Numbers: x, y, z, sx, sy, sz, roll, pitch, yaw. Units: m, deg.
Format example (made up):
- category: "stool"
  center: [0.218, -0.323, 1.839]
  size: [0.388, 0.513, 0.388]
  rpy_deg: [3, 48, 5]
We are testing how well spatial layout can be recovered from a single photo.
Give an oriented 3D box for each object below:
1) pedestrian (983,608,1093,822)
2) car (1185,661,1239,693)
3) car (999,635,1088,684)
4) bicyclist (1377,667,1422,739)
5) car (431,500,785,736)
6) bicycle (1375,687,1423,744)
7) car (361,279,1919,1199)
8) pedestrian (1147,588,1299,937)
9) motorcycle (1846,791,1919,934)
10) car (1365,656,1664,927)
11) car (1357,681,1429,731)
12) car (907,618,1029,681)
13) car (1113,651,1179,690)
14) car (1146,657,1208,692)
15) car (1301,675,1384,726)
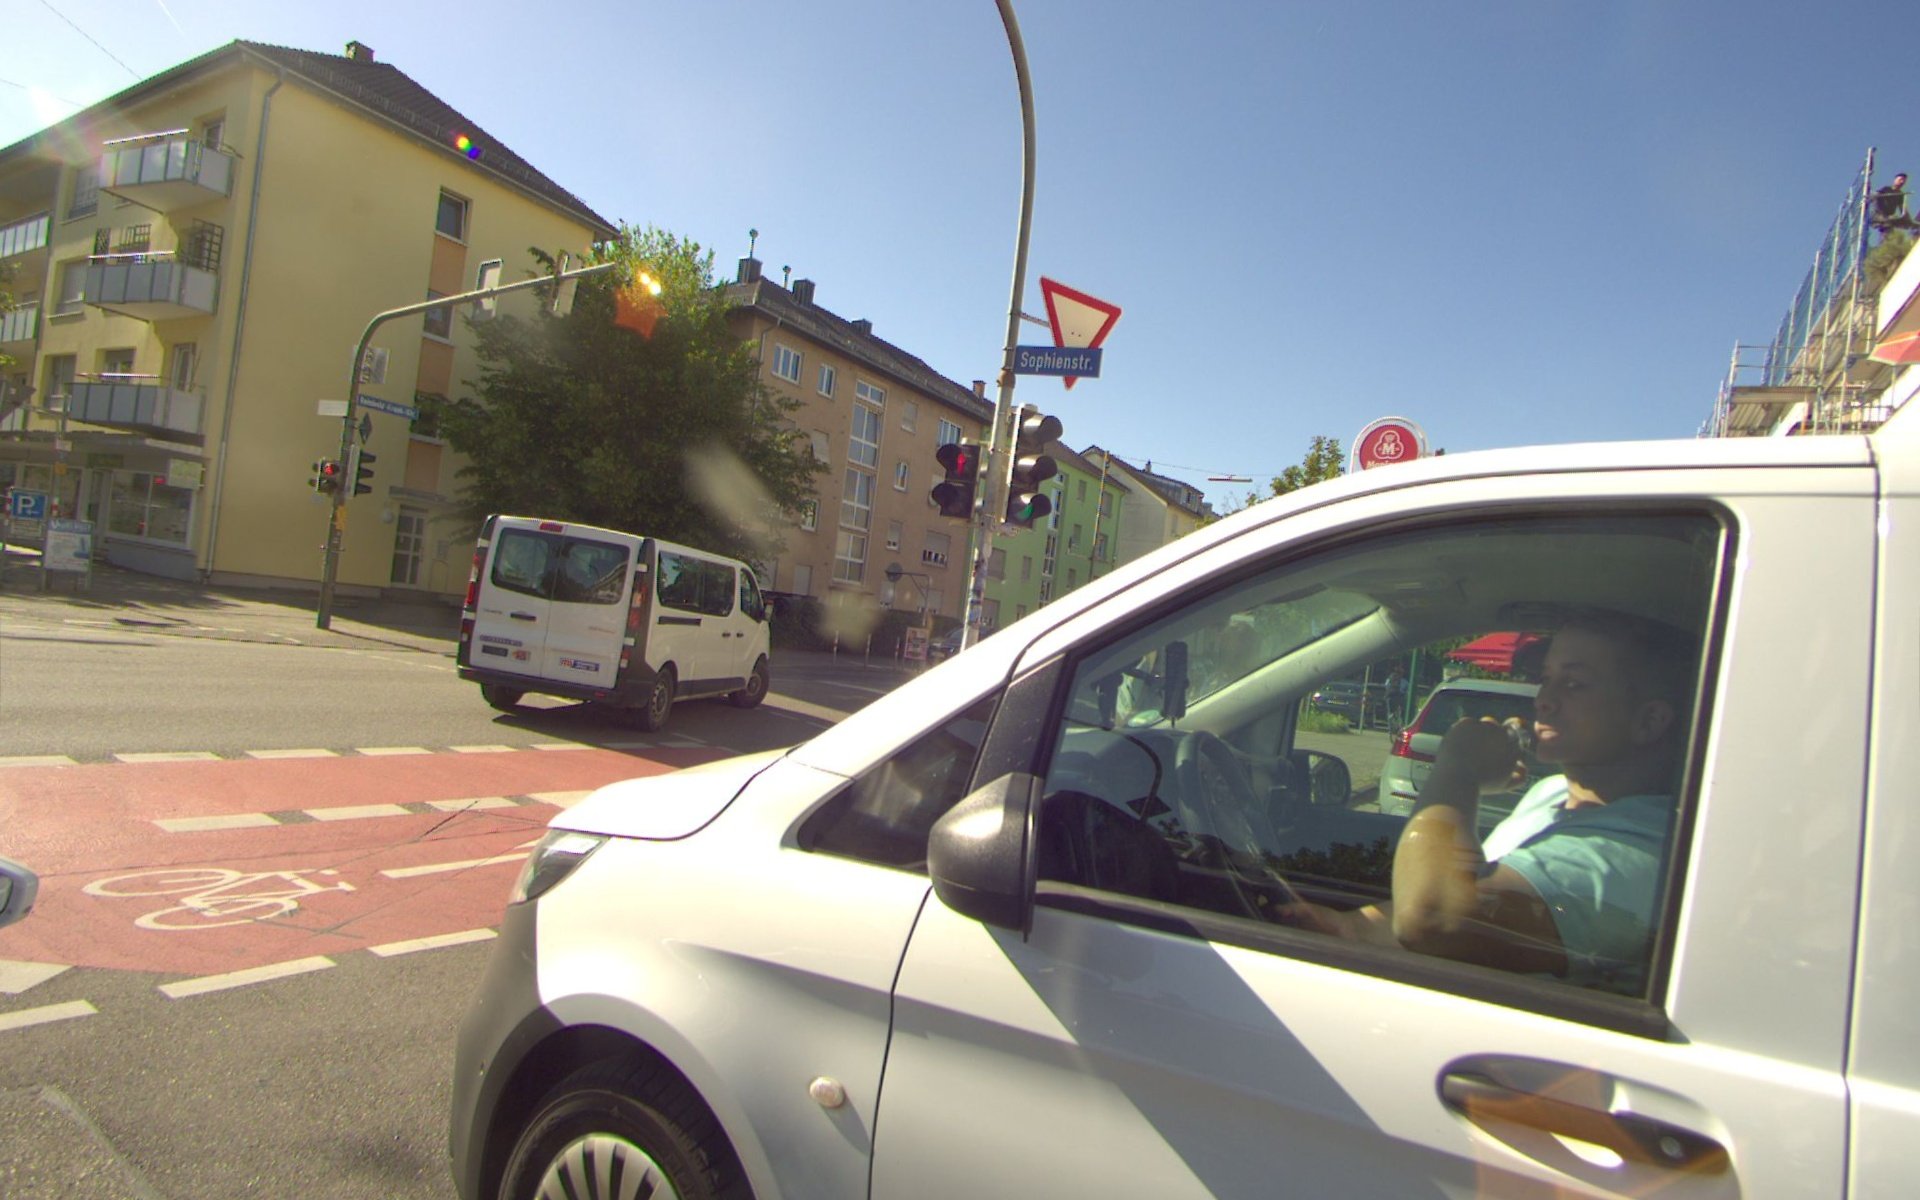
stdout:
- category: "pedestrian"
  center: [0.701, 1.013, 9.008]
  size: [0.613, 1.783, 0.526]
  rpy_deg: [7, 0, 31]
- category: "car"
  center: [13.443, 4.109, 53.543]
  size: [1.658, 1.352, 3.516]
  rpy_deg: [7, -1, 33]
- category: "car"
  center: [3.096, 2.195, 36.658]
  size: [1.658, 1.428, 3.516]
  rpy_deg: [7, -1, 32]
- category: "bicyclist"
  center: [10.767, 2.523, 24.627]
  size: [0.791, 1.668, 1.124]
  rpy_deg: [3, -4, 30]
- category: "car"
  center: [-3.746, 0.309, 11.955]
  size: [1.937, 1.961, 5.063]
  rpy_deg: [8, -3, 4]
- category: "bicycle"
  center: [10.789, 2.834, 24.693]
  size: [0.791, 1.269, 2.136]
  rpy_deg: [3, -4, 30]
- category: "car"
  center: [1.440, 0.747, 1.577]
  size: [4.752, 1.832, 1.972]
  rpy_deg: [6, -1, 31]
- category: "pedestrian"
  center: [1.537, 0.902, 5.855]
  size: [0.594, 1.844, 0.629]
  rpy_deg: [7, 0, 17]
- category: "motorcycle"
  center: [9.531, 2.547, 9.681]
  size: [1.986, 1.180, 0.565]
  rpy_deg: [8, -1, -21]
- category: "car"
  center: [5.126, 1.554, 9.232]
  size: [1.795, 1.682, 3.993]
  rpy_deg: [7, -1, 32]
- category: "car"
  center: [15.696, 3.818, 36.373]
  size: [1.686, 1.470, 3.993]
  rpy_deg: [7, -2, 32]
- category: "car"
  center: [0.333, 1.625, 32.195]
  size: [1.967, 1.592, 3.993]
  rpy_deg: [7, -1, 32]
- category: "car"
  center: [8.429, 3.206, 45.412]
  size: [1.658, 1.428, 3.516]
  rpy_deg: [7, -1, 32]
- category: "car"
  center: [10.501, 3.610, 48.610]
  size: [1.658, 1.352, 3.515]
  rpy_deg: [7, -1, 33]
- category: "car"
  center: [12.492, 3.268, 32.694]
  size: [1.686, 1.330, 3.994]
  rpy_deg: [7, -2, 32]
